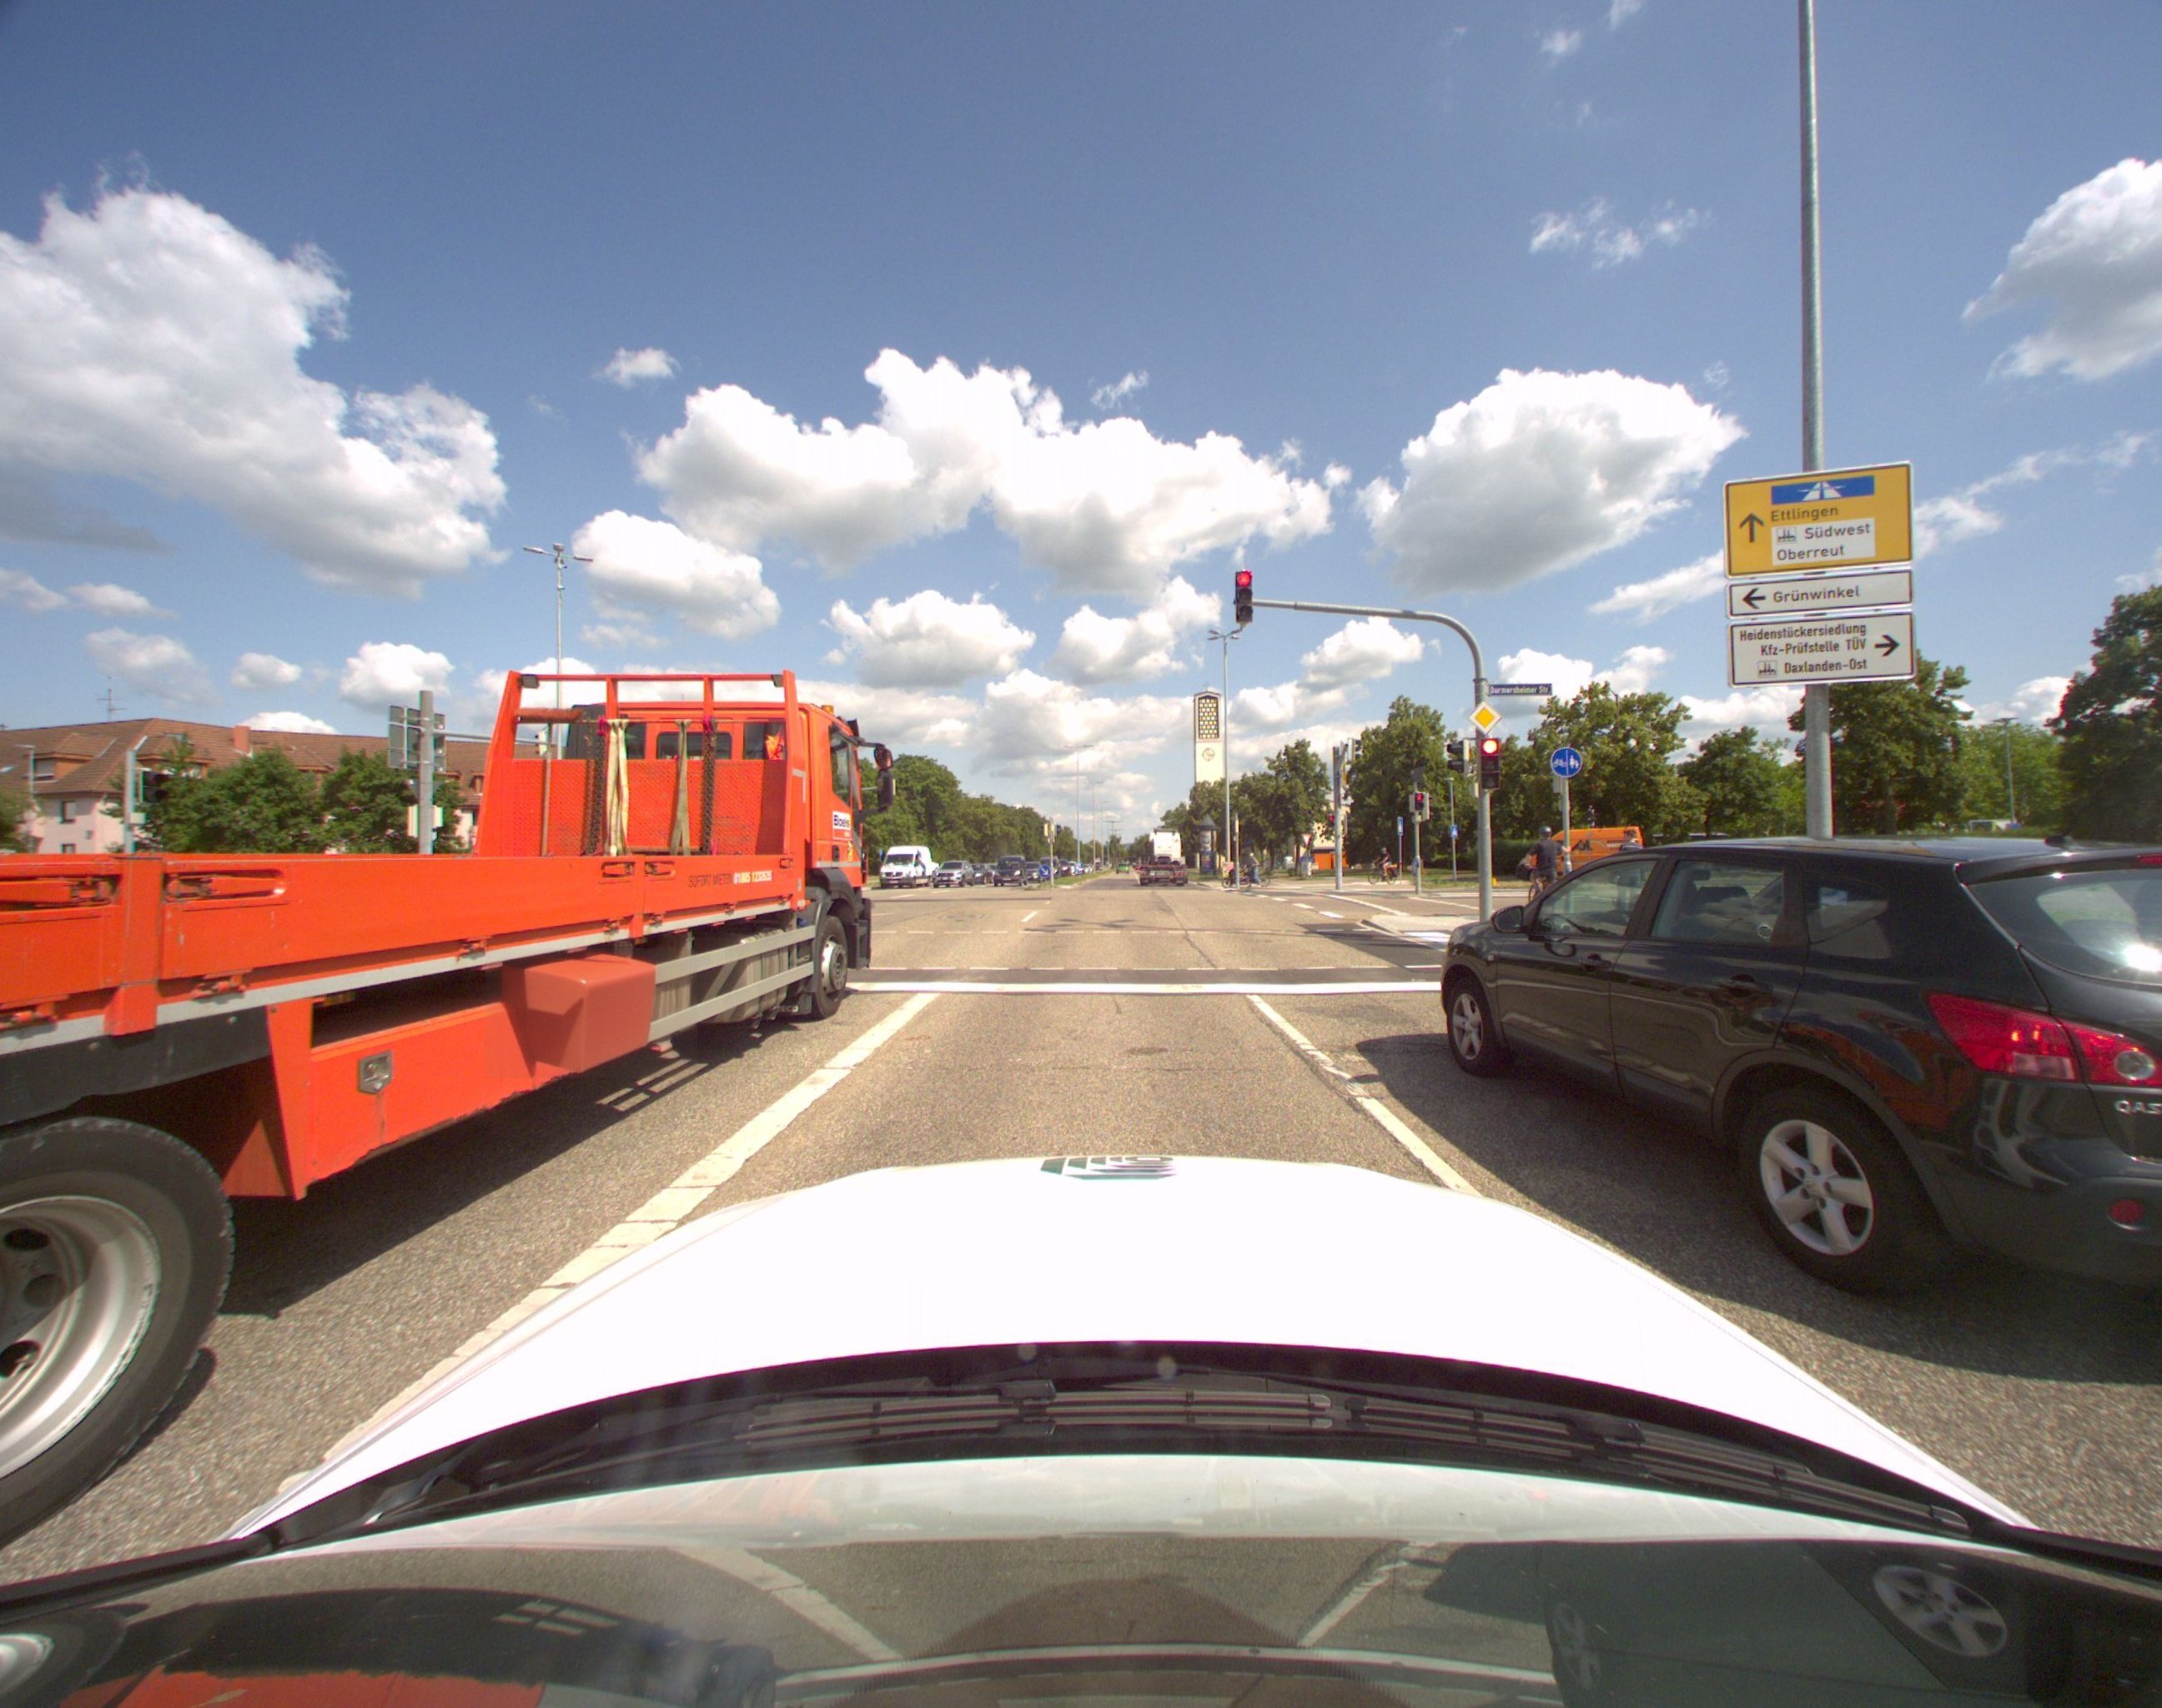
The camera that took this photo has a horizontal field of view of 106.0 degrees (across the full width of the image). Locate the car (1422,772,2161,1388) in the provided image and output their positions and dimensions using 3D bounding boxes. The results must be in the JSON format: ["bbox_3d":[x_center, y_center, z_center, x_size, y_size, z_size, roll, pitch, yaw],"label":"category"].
[{"bbox_3d":[3.437,0.614,4.077,1.793,1.552,3.999,1,-1,0],"label":"car"}]

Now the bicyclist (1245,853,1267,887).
[{"bbox_3d":[8.478,0.754,39.534,0.701,1.616,0.792,0,-1,-22],"label":"bicyclist"}]

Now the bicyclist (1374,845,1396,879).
[{"bbox_3d":[16.007,0.426,42.866,0.791,1.804,0.679,0,-1,-28],"label":"bicyclist"}]

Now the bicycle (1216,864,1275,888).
[{"bbox_3d":[7.962,1.047,39.327,2.844,1.112,0.791,0,0,-22],"label":"bicycle"}]

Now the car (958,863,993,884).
[{"bbox_3d":[-6.971,1.283,54.202,1.757,1.352,3.520,0,-1,2],"label":"car"}]

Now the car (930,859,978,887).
[{"bbox_3d":[-7.433,1.124,48.052,1.726,1.543,4.316,1,-1,6],"label":"car"}]

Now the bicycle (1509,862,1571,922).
[{"bbox_3d":[9.141,0.739,16.297,0.643,1.108,1.936,1,-1,16],"label":"bicycle"}]

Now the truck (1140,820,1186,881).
[{"bbox_3d":[5.817,-0.132,57.516,2.944,3.971,8.652,0,-1,6],"label":"truck"}]

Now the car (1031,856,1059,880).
[{"bbox_3d":[-2.712,1.056,62.594,1.728,1.660,4.234,1,0,2],"label":"car"}]

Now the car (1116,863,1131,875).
[{"bbox_3d":[6.040,2.121,116.226,1.986,1.552,4.001,1,-1,2],"label":"car"}]

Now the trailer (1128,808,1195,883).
[{"bbox_3d":[4.991,-0.332,49.710,3.602,4.012,11.337,0,-1,6],"label":"trailer"}]

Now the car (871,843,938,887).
[{"bbox_3d":[-10.628,0.677,49.674,2.163,2.471,5.977,1,-1,6],"label":"car"}]

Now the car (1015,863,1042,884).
[{"bbox_3d":[-3.531,1.300,55.175,1.563,1.316,3.431,1,-1,0],"label":"car"}]

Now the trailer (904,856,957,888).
[{"bbox_3d":[-10.120,1.216,55.258,2.114,2.014,5.170,1,-1,6],"label":"trailer"}]

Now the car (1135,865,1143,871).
[{"bbox_3d":[15.315,3.751,216.715,1.986,1.552,4.001,1,-1,2],"label":"car"}]

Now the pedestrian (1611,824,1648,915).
[{"bbox_3d":[10.923,0.307,16.232,0.461,1.779,0.483,1,-1,11],"label":"pedestrian"}]

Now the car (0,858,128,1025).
[{"bbox_3d":[-11.846,0.906,7.320,1.788,1.689,4.000,-1,0,1],"label":"car"}]

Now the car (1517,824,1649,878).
[{"bbox_3d":[22.172,-0.106,36.018,4.797,2.226,2.225,1,-1,36],"label":"car"}]

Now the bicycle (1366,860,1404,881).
[{"bbox_3d":[15.992,0.866,42.848,2.008,1.093,0.679,0,-1,-28],"label":"bicycle"}]

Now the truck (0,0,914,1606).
[{"bbox_3d":[-3.458,-0.337,3.475,3.060,3.414,11.066,1,-1,0],"label":"truck"}]

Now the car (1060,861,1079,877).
[{"bbox_3d":[-1.225,1.570,87.258,1.727,1.660,4.234,1,-1,3],"label":"car"}]

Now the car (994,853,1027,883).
[{"bbox_3d":[-4.098,0.831,47.754,1.730,1.660,4.226,1,-1,-3],"label":"car"}]

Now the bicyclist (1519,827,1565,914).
[{"bbox_3d":[9.072,0.322,16.032,0.643,1.661,0.653,1,-1,16],"label":"bicyclist"}]
